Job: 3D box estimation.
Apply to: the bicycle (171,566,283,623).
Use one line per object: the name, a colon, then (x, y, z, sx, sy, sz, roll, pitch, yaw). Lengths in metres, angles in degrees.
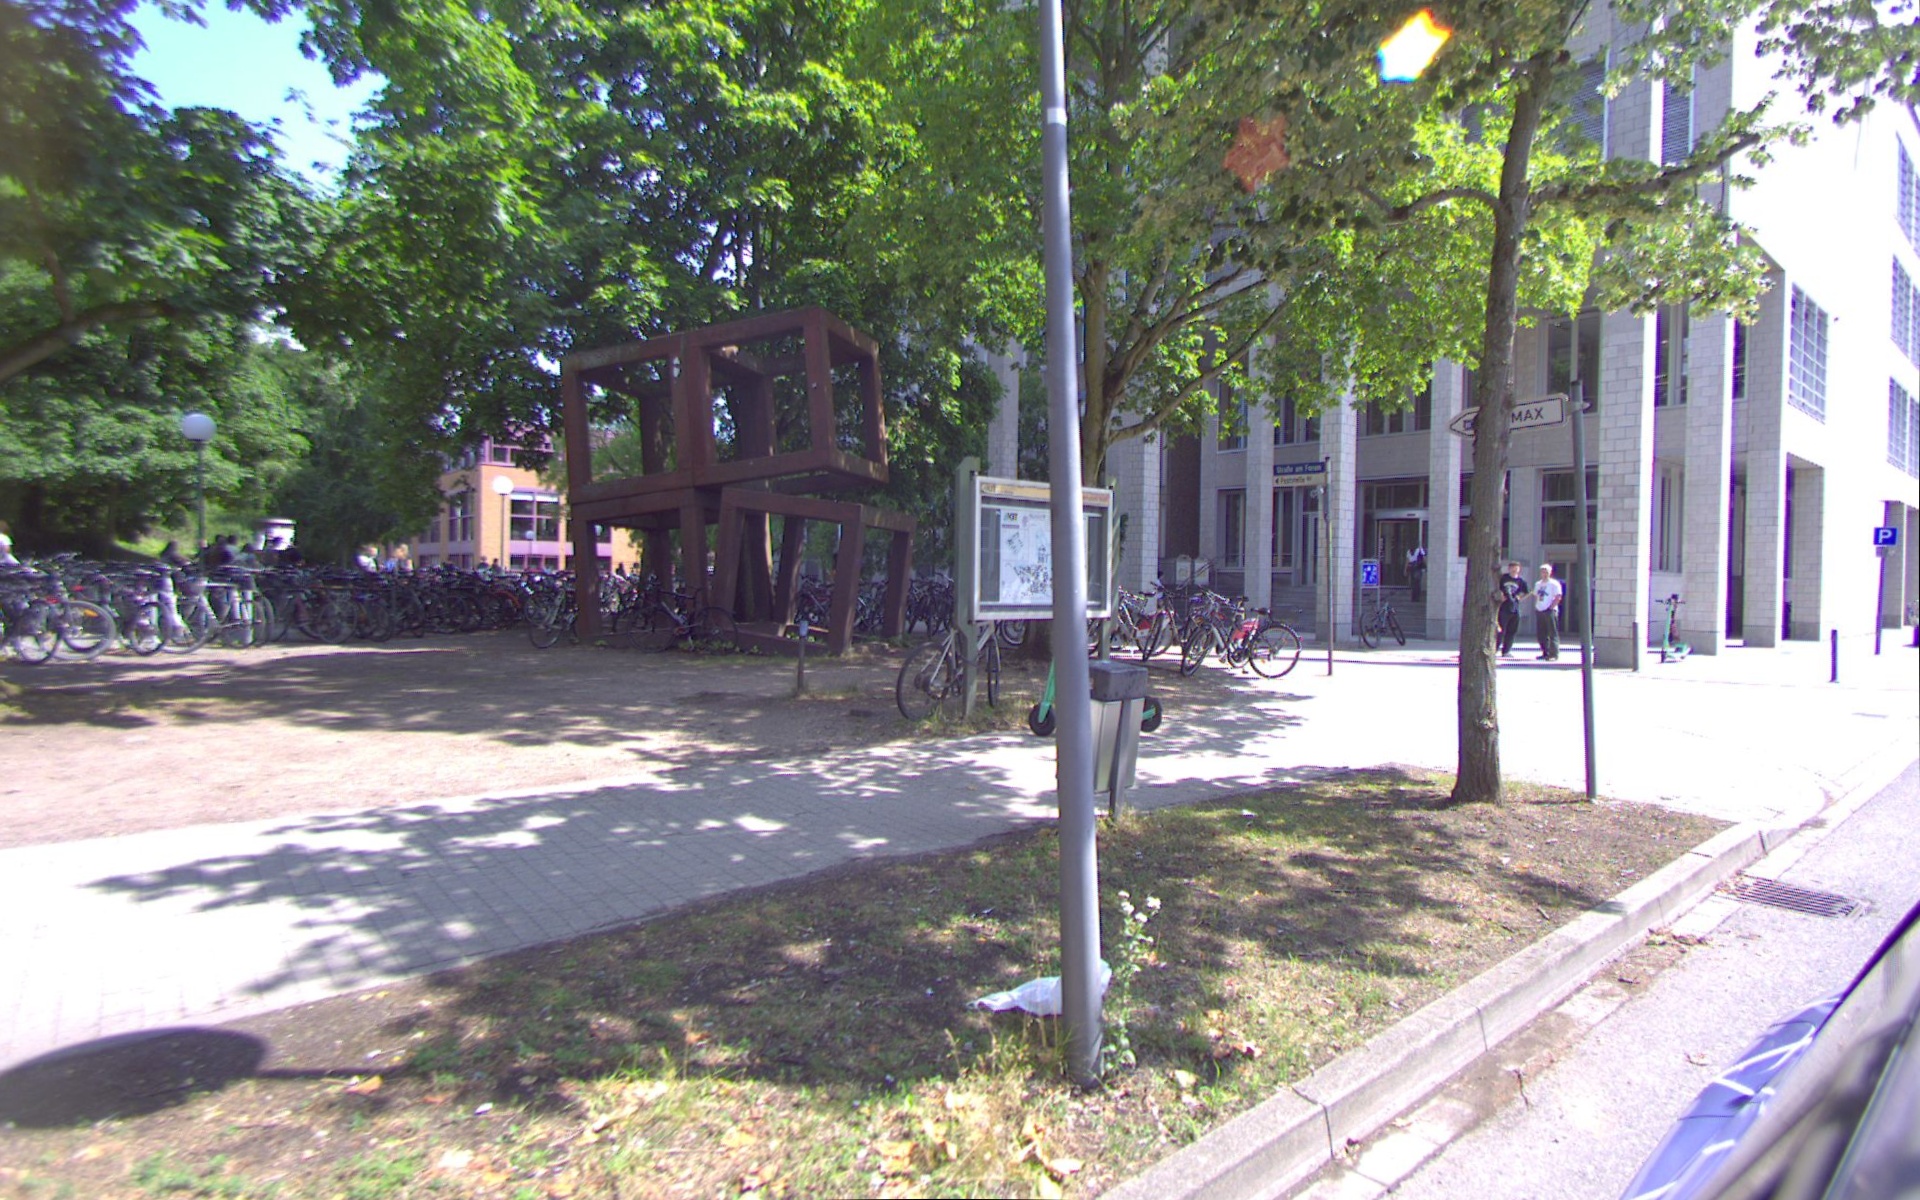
bicycle: (-13.640, -0.111, 18.834, 1.871, 0.991, 0.478, 2, 2, 7)

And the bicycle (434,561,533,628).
bicycle: (-8.967, -0.113, 19.043, 1.819, 1.185, 0.434, 2, 1, 15)

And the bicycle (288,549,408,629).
bicycle: (-9.649, -0.180, 15.953, 1.816, 1.185, 0.412, 2, 1, 12)

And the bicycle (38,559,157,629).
bicycle: (-13.835, -0.108, 16.240, 1.715, 1.035, 0.477, 2, 2, 10)

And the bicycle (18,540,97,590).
bicycle: (-21.235, -0.822, 23.808, 1.581, 1.107, 0.348, 2, 2, 2)

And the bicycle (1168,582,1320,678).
bicycle: (3.683, 0.379, 13.174, 1.750, 1.155, 0.607, 1, 3, -7)

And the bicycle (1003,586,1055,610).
bicycle: (2.537, -0.081, 37.337, 0.633, 0.769, 1.987, 2, 2, -42)

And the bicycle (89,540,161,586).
bicycle: (-21.326, -0.948, 25.855, 1.581, 1.107, 0.348, 2, 2, 2)

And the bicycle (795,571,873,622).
bicycle: (-2.720, -0.063, 21.931, 0.616, 1.060, 1.661, -1, -2, 45)

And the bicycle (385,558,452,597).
bicycle: (-15.617, -0.642, 29.199, 1.656, 1.098, 0.479, 0, -1, -1)

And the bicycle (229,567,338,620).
bicycle: (-13.431, -0.135, 20.107, 1.868, 0.991, 0.479, 2, 2, 1)

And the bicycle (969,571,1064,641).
bicycle: (1.003, 0.114, 17.672, 1.664, 1.139, 0.482, 2, 2, -35)

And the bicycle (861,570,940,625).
bicycle: (-1.180, -0.031, 20.268, 0.566, 1.060, 1.670, -1, -2, 42)

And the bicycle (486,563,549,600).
bicycle: (-13.188, -0.546, 30.188, 1.653, 1.098, 0.479, 0, -1, -8)

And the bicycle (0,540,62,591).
bicycle: (-21.420, -0.788, 23.024, 1.578, 1.107, 0.348, 1, 2, -6)

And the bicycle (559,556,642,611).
bicycle: (-8.166, -0.377, 22.975, 1.816, 1.185, 0.412, 2, 1, 12)

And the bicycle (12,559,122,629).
bicycle: (-14.102, -0.110, 15.986, 1.715, 1.035, 0.292, 2, 2, 10)

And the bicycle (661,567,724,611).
bicycle: (-7.259, -0.289, 27.518, 0.477, 1.144, 1.661, -1, -2, 45)

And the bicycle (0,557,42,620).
bicycle: (-16.090, -0.216, 16.861, 1.880, 0.991, 0.376, 3, 2, 21)

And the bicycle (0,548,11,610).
bicycle: (-16.226, -0.374, 16.459, 1.880, 0.991, 0.376, 3, 2, 21)

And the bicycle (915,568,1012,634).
bicycle: (0.077, 0.027, 18.644, 1.664, 1.139, 0.628, 2, 2, -35)

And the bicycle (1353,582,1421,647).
bicycle: (8.742, 0.274, 20.687, 1.798, 1.257, 0.531, -1, 3, -41)

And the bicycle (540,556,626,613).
bicycle: (-8.291, -0.341, 22.268, 1.816, 1.185, 0.412, 2, 1, 12)

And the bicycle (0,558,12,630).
bicycle: (-14.230, -0.109, 14.020, 1.868, 0.991, 0.379, 2, 2, 0)

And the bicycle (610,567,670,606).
bicycle: (-9.487, -0.386, 30.004, 0.477, 1.097, 1.661, -1, -2, 45)

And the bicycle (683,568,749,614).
bicycle: (-6.263, -0.222, 26.081, 0.453, 1.144, 1.661, -1, -2, 45)

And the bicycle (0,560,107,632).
bicycle: (-14.120, -0.070, 15.612, 1.715, 1.035, 0.477, 2, 2, 10)

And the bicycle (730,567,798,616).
bicycle: (-4.733, -0.195, 24.495, 0.453, 1.144, 1.661, -1, -2, 45)

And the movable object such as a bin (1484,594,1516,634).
movable object such as a bin: (13.785, 0.355, 25.835, 0.503, 0.961, 0.513, 1, 4, -42)

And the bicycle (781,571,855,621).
bicycle: (-3.121, -0.078, 22.351, 0.500, 1.060, 1.661, -1, -2, 45)

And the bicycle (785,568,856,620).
bicycle: (-3.173, -0.118, 23.098, 0.453, 1.144, 1.661, -1, -2, 45)

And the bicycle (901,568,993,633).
bicycle: (-0.236, 0.019, 19.312, 1.665, 1.164, 0.627, 2, 2, -39)

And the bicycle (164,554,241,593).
bicycle: (-19.926, -0.717, 26.659, 0.576, 0.942, 1.750, 4, 3, 7)

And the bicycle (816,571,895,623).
bicycle: (-2.203, -0.053, 21.429, 0.616, 1.060, 1.661, -1, -2, 45)

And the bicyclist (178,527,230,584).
bicyclist: (-19.901, -1.162, 26.650, 0.732, 1.464, 0.802, 2, 1, 7)

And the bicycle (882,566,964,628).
bicycle: (-0.706, -0.037, 19.802, 0.625, 1.165, 1.671, -1, -2, 41)

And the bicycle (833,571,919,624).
bicycle: (-1.725, -0.030, 20.869, 1.663, 1.061, 0.618, 1, -1, -32)

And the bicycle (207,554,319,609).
bicycle: (-13.465, -0.370, 19.566, 1.868, 0.991, 0.479, 2, 2, 1)

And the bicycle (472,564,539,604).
bicycle: (-12.961, -0.452, 28.886, 1.653, 1.098, 0.479, 0, -1, -8)

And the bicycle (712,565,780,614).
bicycle: (-5.236, -0.245, 24.810, 0.453, 1.144, 1.661, -1, -2, 45)

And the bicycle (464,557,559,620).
bicycle: (-8.875, -0.242, 20.028, 1.816, 1.185, 0.412, 2, 1, 12)

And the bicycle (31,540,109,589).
bicycle: (-21.232, -0.842, 24.155, 1.581, 1.107, 0.348, 2, 2, 2)

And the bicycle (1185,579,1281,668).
bicycle: (3.833, 0.304, 14.151, 1.465, 1.155, 0.560, -1, 4, -43)

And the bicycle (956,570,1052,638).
bicycle: (0.802, 0.086, 18.164, 1.664, 1.139, 0.566, 2, 2, -35)

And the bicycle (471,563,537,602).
bicycle: (-13.217, -0.498, 29.341, 1.653, 1.098, 0.479, 0, -1, -8)

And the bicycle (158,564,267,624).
bicycle: (-13.544, -0.121, 18.342, 1.875, 0.991, 0.477, 2, 2, 13)

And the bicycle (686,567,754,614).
bicycle: (-6.051, -0.234, 25.580, 0.453, 1.144, 1.661, -1, -2, 45)

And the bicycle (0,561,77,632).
bicycle: (-14.034, -0.070, 14.853, 1.869, 0.991, 0.378, 2, 2, 2)
